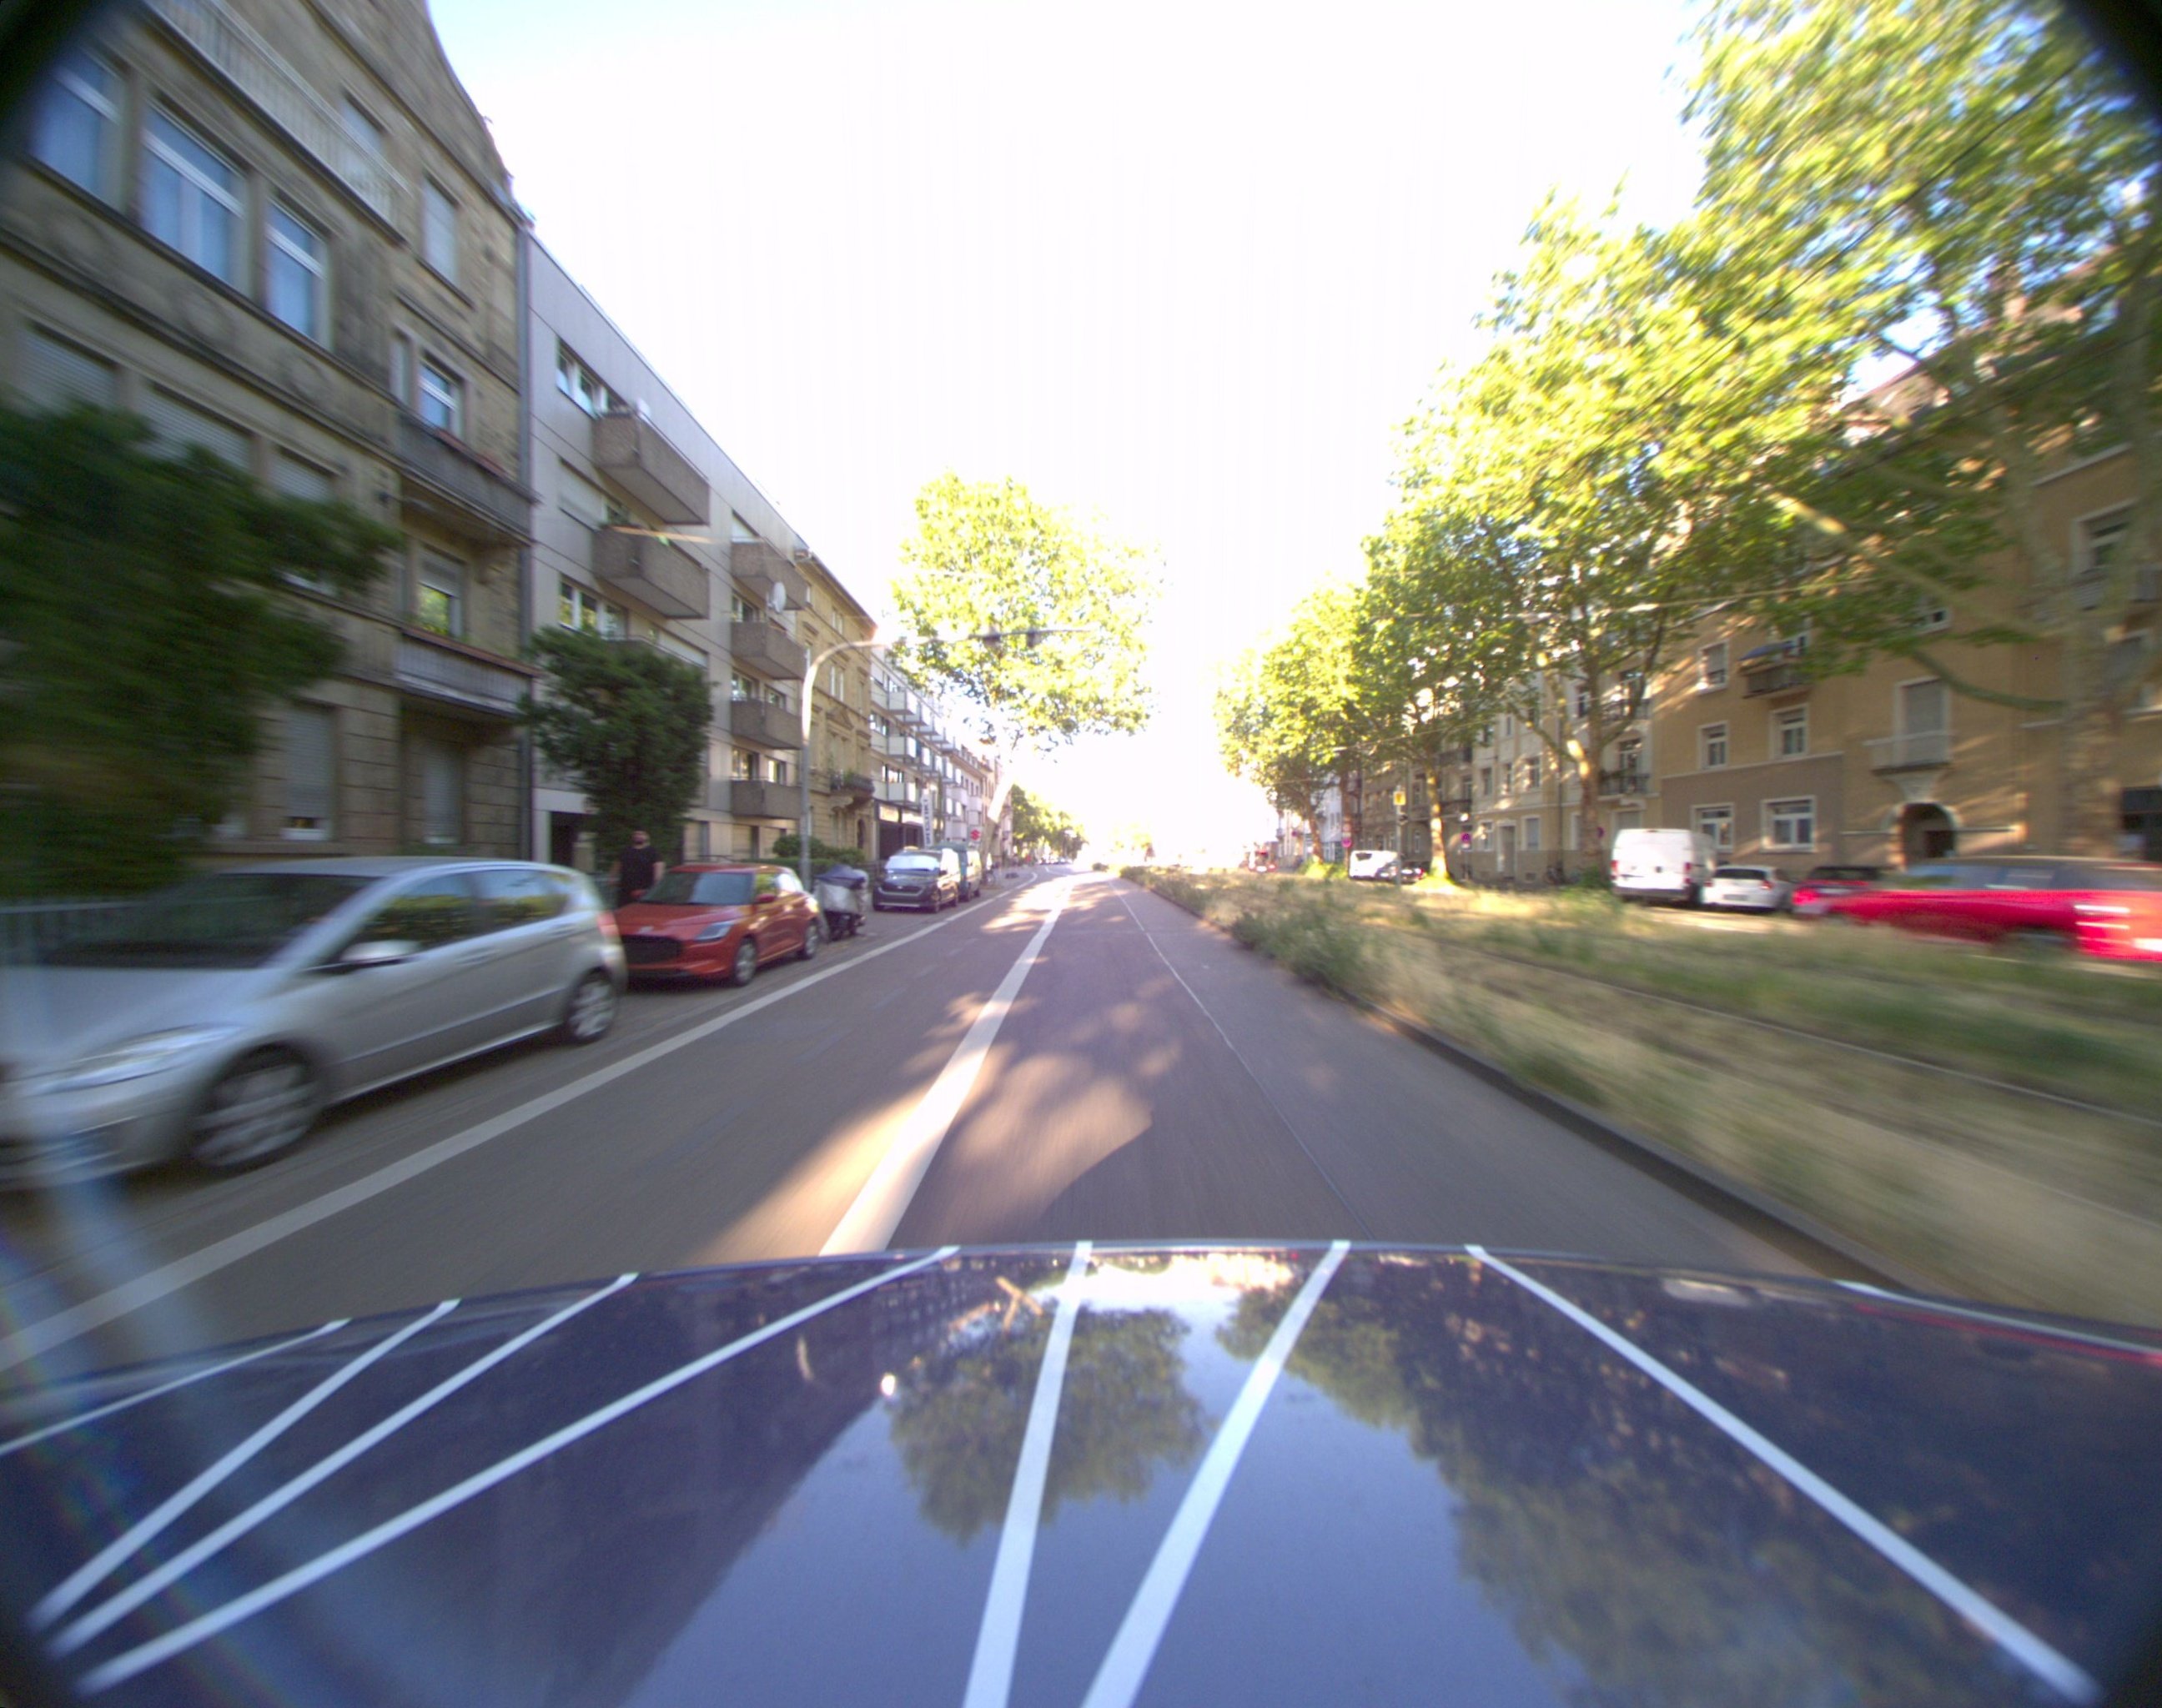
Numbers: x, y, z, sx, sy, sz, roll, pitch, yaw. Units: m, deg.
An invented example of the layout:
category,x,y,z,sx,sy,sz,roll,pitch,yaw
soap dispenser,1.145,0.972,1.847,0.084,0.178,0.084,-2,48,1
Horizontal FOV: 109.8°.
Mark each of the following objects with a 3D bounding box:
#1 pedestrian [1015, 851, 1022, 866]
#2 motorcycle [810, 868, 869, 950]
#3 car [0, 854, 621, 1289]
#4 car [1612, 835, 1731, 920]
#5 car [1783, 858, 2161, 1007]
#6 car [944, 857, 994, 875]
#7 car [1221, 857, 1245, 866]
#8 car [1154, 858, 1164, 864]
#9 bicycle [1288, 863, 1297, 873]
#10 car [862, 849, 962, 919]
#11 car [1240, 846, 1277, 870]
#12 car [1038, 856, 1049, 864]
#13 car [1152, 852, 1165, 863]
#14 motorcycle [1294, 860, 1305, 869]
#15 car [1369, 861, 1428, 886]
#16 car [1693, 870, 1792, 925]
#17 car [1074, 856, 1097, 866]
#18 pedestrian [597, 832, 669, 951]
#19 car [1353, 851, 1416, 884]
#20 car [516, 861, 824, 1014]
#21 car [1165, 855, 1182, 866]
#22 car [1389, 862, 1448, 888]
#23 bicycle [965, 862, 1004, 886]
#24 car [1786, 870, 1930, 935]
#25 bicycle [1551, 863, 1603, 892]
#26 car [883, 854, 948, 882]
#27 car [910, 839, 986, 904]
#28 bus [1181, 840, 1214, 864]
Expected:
category,x,y,z,sx,sy,sz,roll,pitch,yaw
pedestrian,-7.643,0.553,93.186,0.831,1.802,1.150,0,1,-1
motorcycle,-4.631,1.006,14.729,0.827,1.390,2.377,2,0,-12
car,-5.063,0.876,4.962,1.748,1.680,3.851,0,1,0
car,19.527,0.686,25.016,5.520,2.514,2.120,0,0,-42
car,12.139,0.867,10.176,1.794,1.565,4.000,0,0,1
car,-9.303,1.022,63.317,3.820,1.492,1.914,0,-1,1
car,27.382,1.352,136.693,4.124,1.565,1.717,0,1,6
car,19.881,1.830,193.299,1.737,1.471,3.812,1,0,-5
bicycle,22.271,1.472,80.035,0.758,1.027,1.897,-5,0,14
car,-4.919,0.792,22.836,1.999,1.819,4.756,0,1,-1
car,13.098,0.238,56.300,1.873,1.684,4.777,0,1,4
car,-7.964,1.274,163.794,1.877,1.586,4.001,0,0,4
car,12.430,0.492,121.918,1.934,1.674,4.000,0,1,3
motorcycle,25.834,1.197,89.772,0.529,1.015,2.420,-2,0,0
car,19.698,1.164,46.998,4.185,1.482,1.717,0,0,-42
car,19.370,1.198,22.202,3.717,1.391,1.731,0,0,-42
car,0.835,1.303,138.861,3.988,1.696,1.840,1,1,39
pedestrian,-7.477,0.606,12.720,0.712,1.926,0.815,0,1,1
car,20.015,0.865,49.994,5.258,2.054,1.717,0,0,-42
car,-5.091,0.920,10.174,1.999,1.551,3.979,0,1,-1
car,12.826,0.917,105.536,1.720,1.477,4.699,3,0,0
car,19.379,1.166,43.575,3.736,1.413,1.717,0,0,-42
bicycle,-4.739,0.969,37.314,1.849,1.136,0.348,0,1,0
car,19.700,1.185,19.240,3.716,1.457,1.732,2,0,-31
bicycle,25.291,1.183,38.812,0.743,1.383,2.961,0,0,1
car,-9.492,0.778,43.712,3.427,1.538,1.442,0,1,-2
car,-4.881,0.559,28.603,1.999,2.244,5.234,0,1,-1
bus,17.171,-0.371,112.666,3.262,3.355,11.976,0,1,1
